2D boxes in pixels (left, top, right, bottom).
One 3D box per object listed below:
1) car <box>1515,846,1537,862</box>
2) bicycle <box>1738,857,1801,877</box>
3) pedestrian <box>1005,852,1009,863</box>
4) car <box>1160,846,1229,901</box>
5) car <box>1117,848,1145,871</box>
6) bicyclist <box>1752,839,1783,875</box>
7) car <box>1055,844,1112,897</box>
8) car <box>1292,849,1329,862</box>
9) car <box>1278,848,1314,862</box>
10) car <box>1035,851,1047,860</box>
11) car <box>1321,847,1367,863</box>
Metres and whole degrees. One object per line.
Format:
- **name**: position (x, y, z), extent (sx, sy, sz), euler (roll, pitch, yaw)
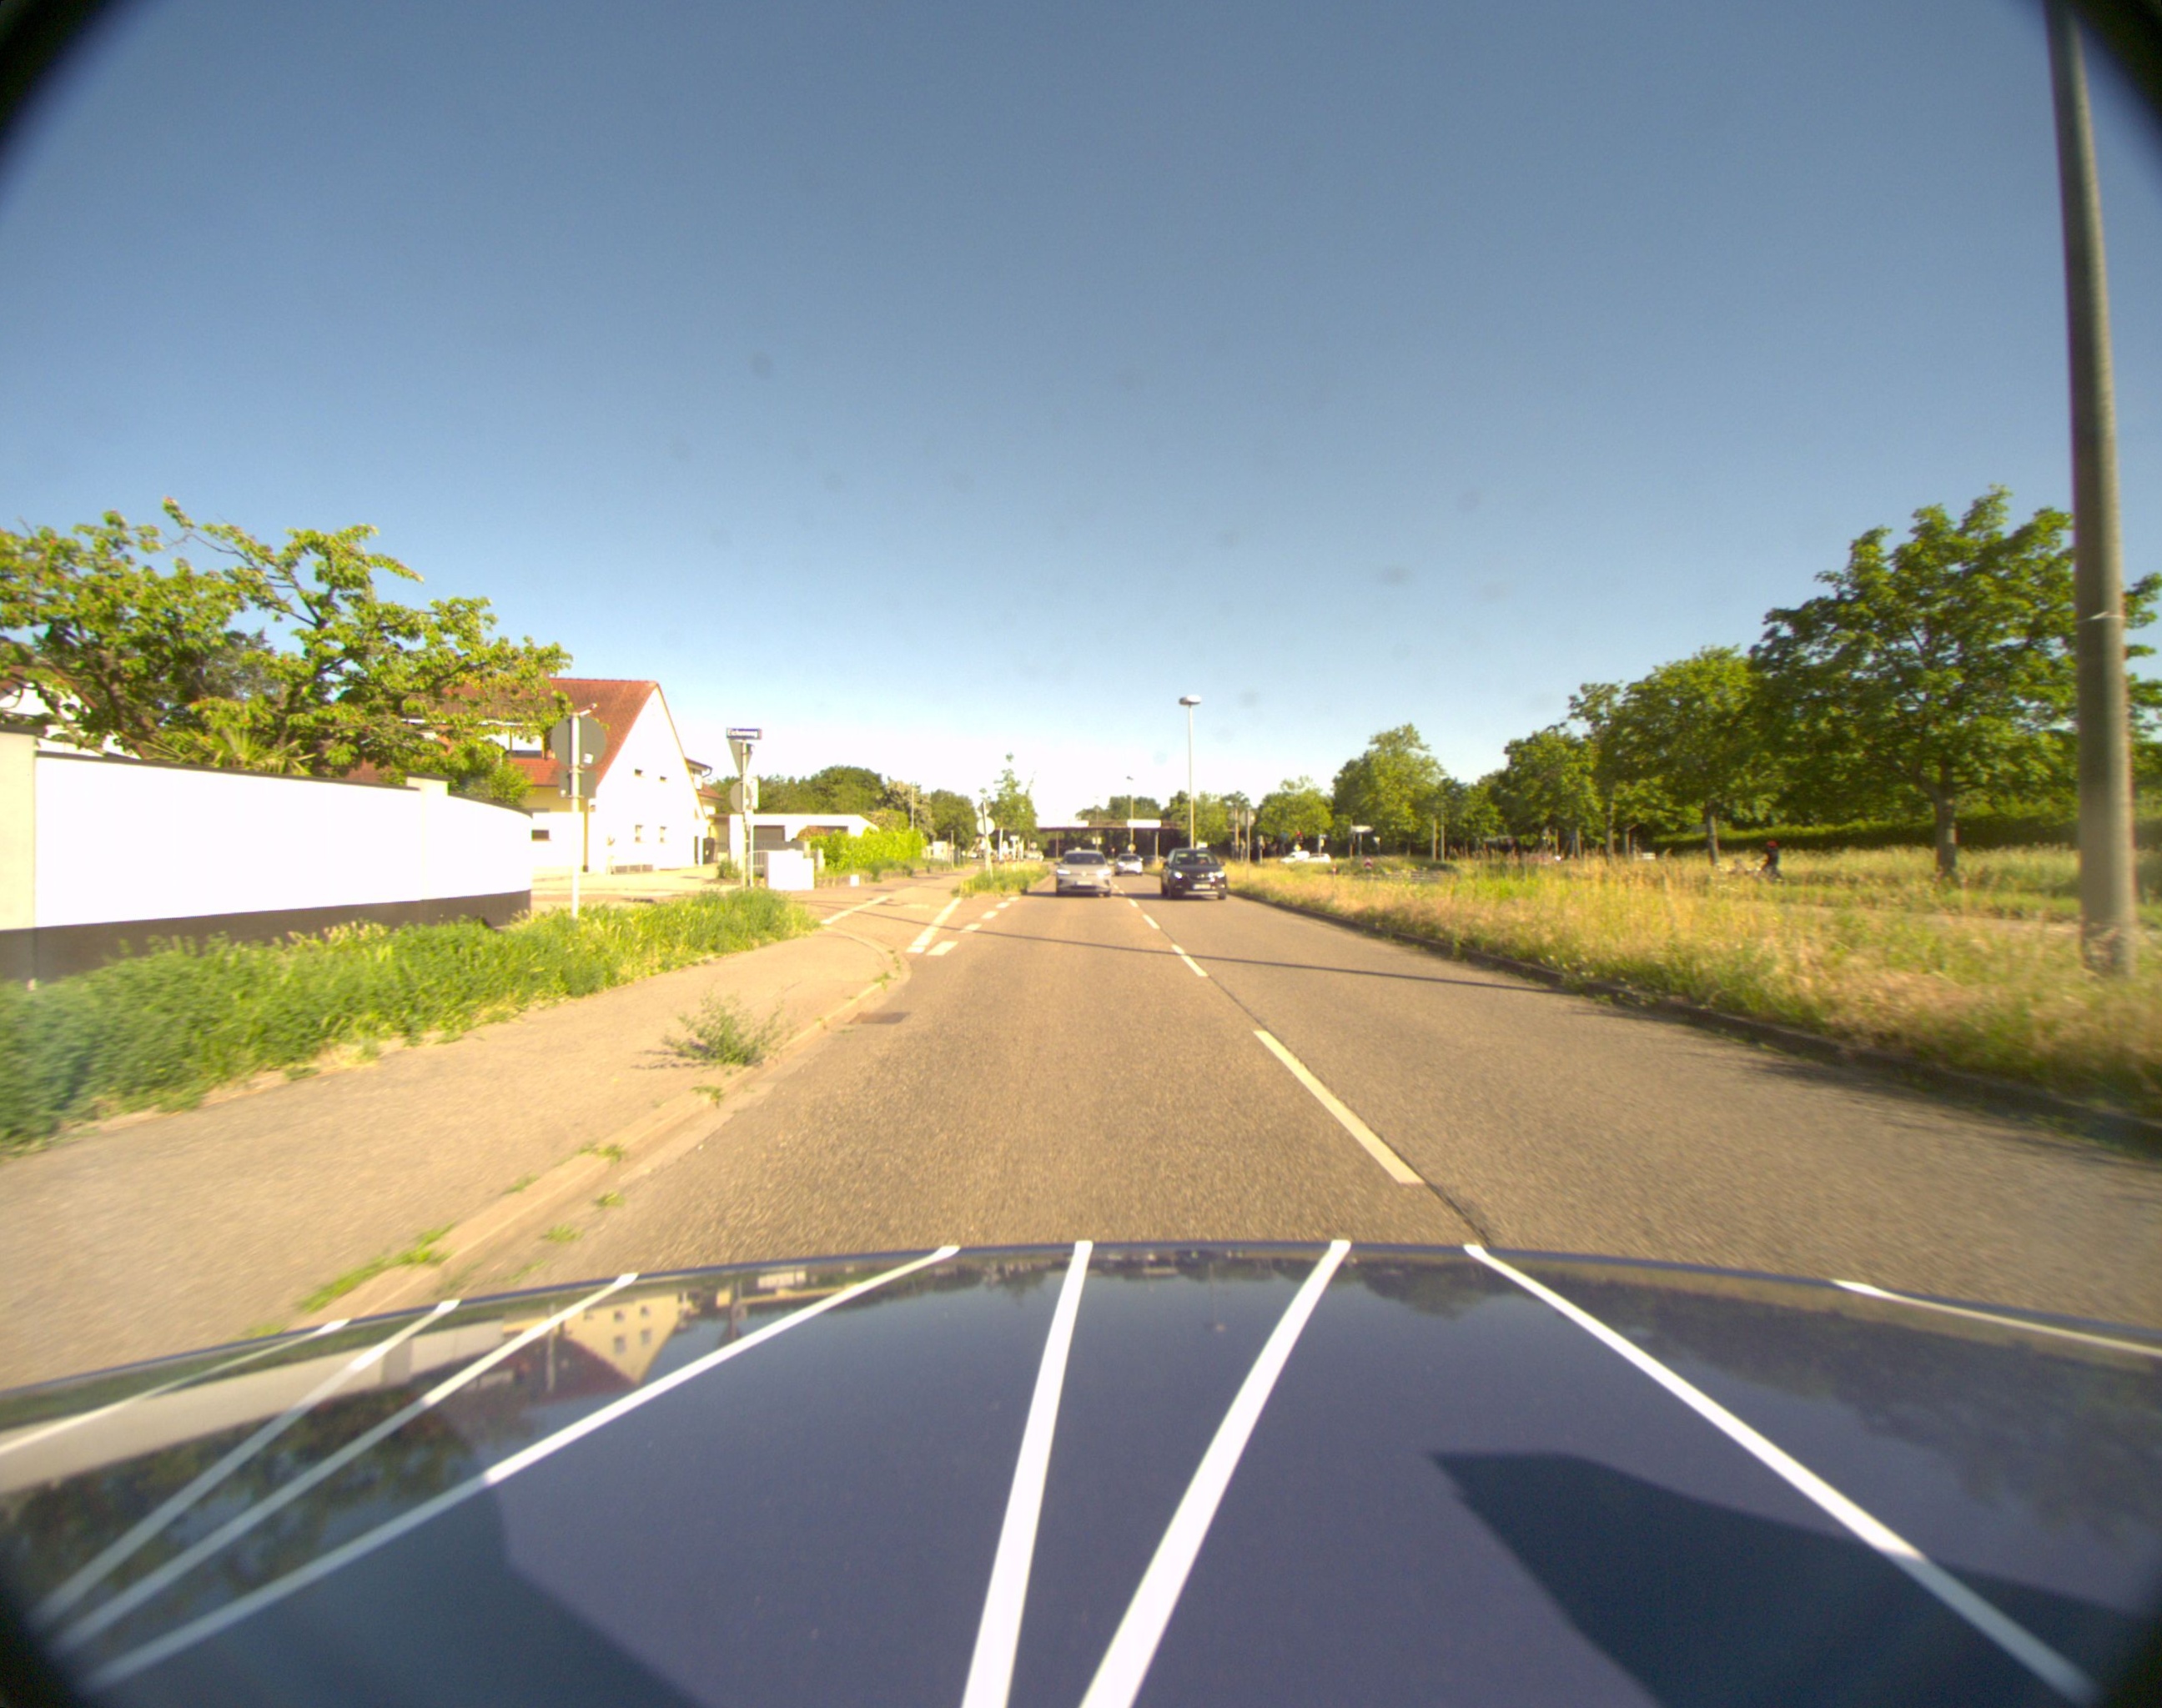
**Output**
- **car**: position (44.373, -0.062, 75.768), extent (1.842, 1.562, 4.395), euler (0, 1, 31)
- **bicycle**: position (24.554, 0.439, 27.141), extent (0.566, 0.691, 1.875), euler (0, 0, 0)
- **pedestrian**: position (-11.159, 0.574, 114.216), extent (0.589, 1.652, 0.716), euler (1, 0, -9)
- **car**: position (3.634, 0.601, 24.950), extent (1.714, 1.653, 3.856), euler (0, 0, 0)
- **car**: position (3.595, 0.410, 55.094), extent (1.830, 1.604, 4.092), euler (0, 0, 0)
- **bicyclist**: position (24.549, 0.109, 27.180), extent (0.584, 1.249, 0.576), euler (0, 1, 0)
- **car**: position (0.142, 0.560, 26.997), extent (1.801, 1.664, 4.240), euler (-2, -1, 2)
- **car**: position (28.334, 0.200, 93.711), extent (3.925, 1.551, 1.851), euler (0, 0, -8)
- **car**: position (27.446, 0.138, 96.977), extent (4.000, 1.744, 1.776), euler (0, 0, -8)
- **car**: position (-7.451, 0.272, 140.278), extent (1.875, 1.611, 3.833), euler (0, 1, -8)
- **car**: position (25.839, 0.059, 74.612), extent (4.537, 1.478, 1.775), euler (-1, 1, -32)
